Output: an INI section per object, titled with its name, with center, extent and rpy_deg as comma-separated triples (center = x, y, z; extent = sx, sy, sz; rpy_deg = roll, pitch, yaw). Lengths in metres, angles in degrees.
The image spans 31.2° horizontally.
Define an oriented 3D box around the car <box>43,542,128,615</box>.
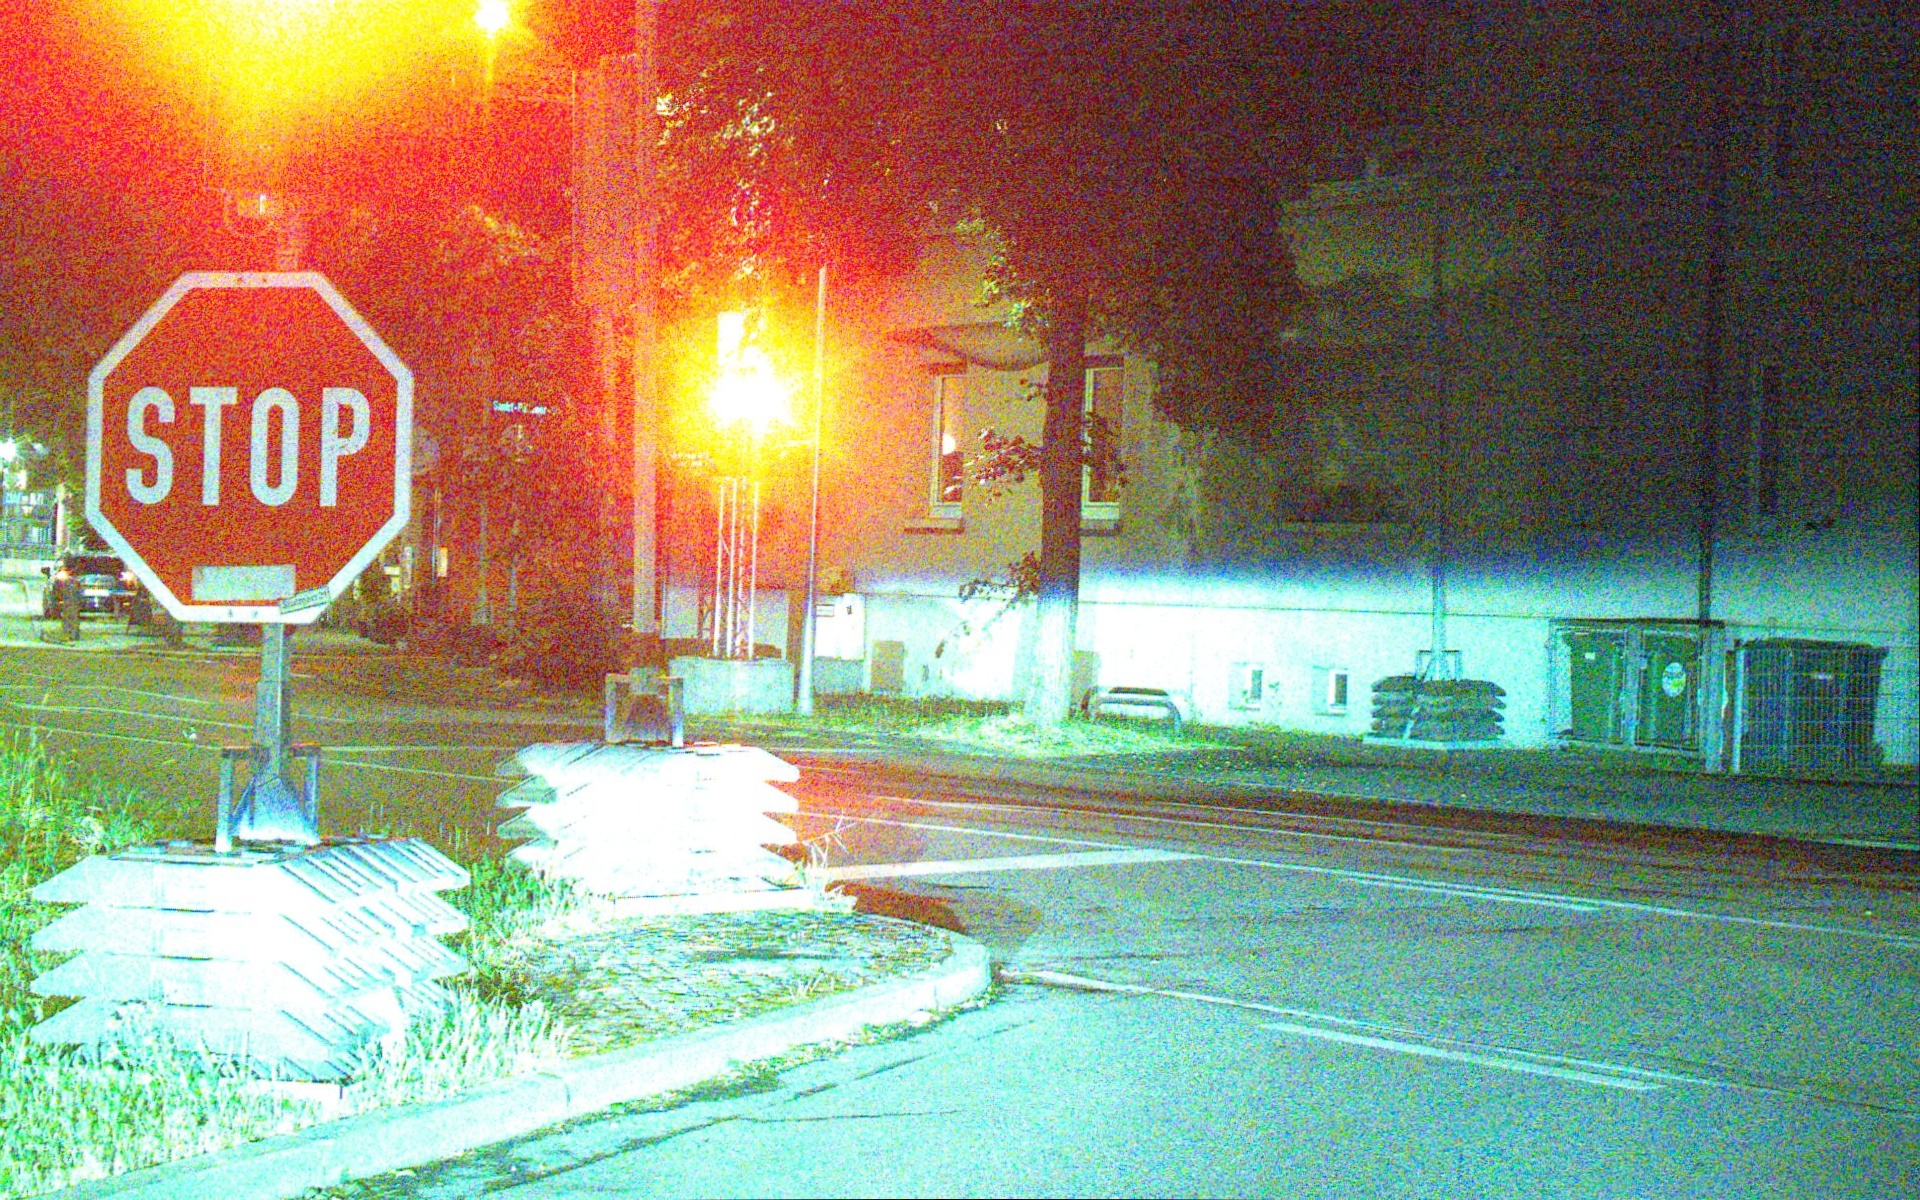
[car]
center = -18.272, -0.468, 71.898
extent = 1.651, 1.426, 4.001
rpy_deg = 2, 1, -14
